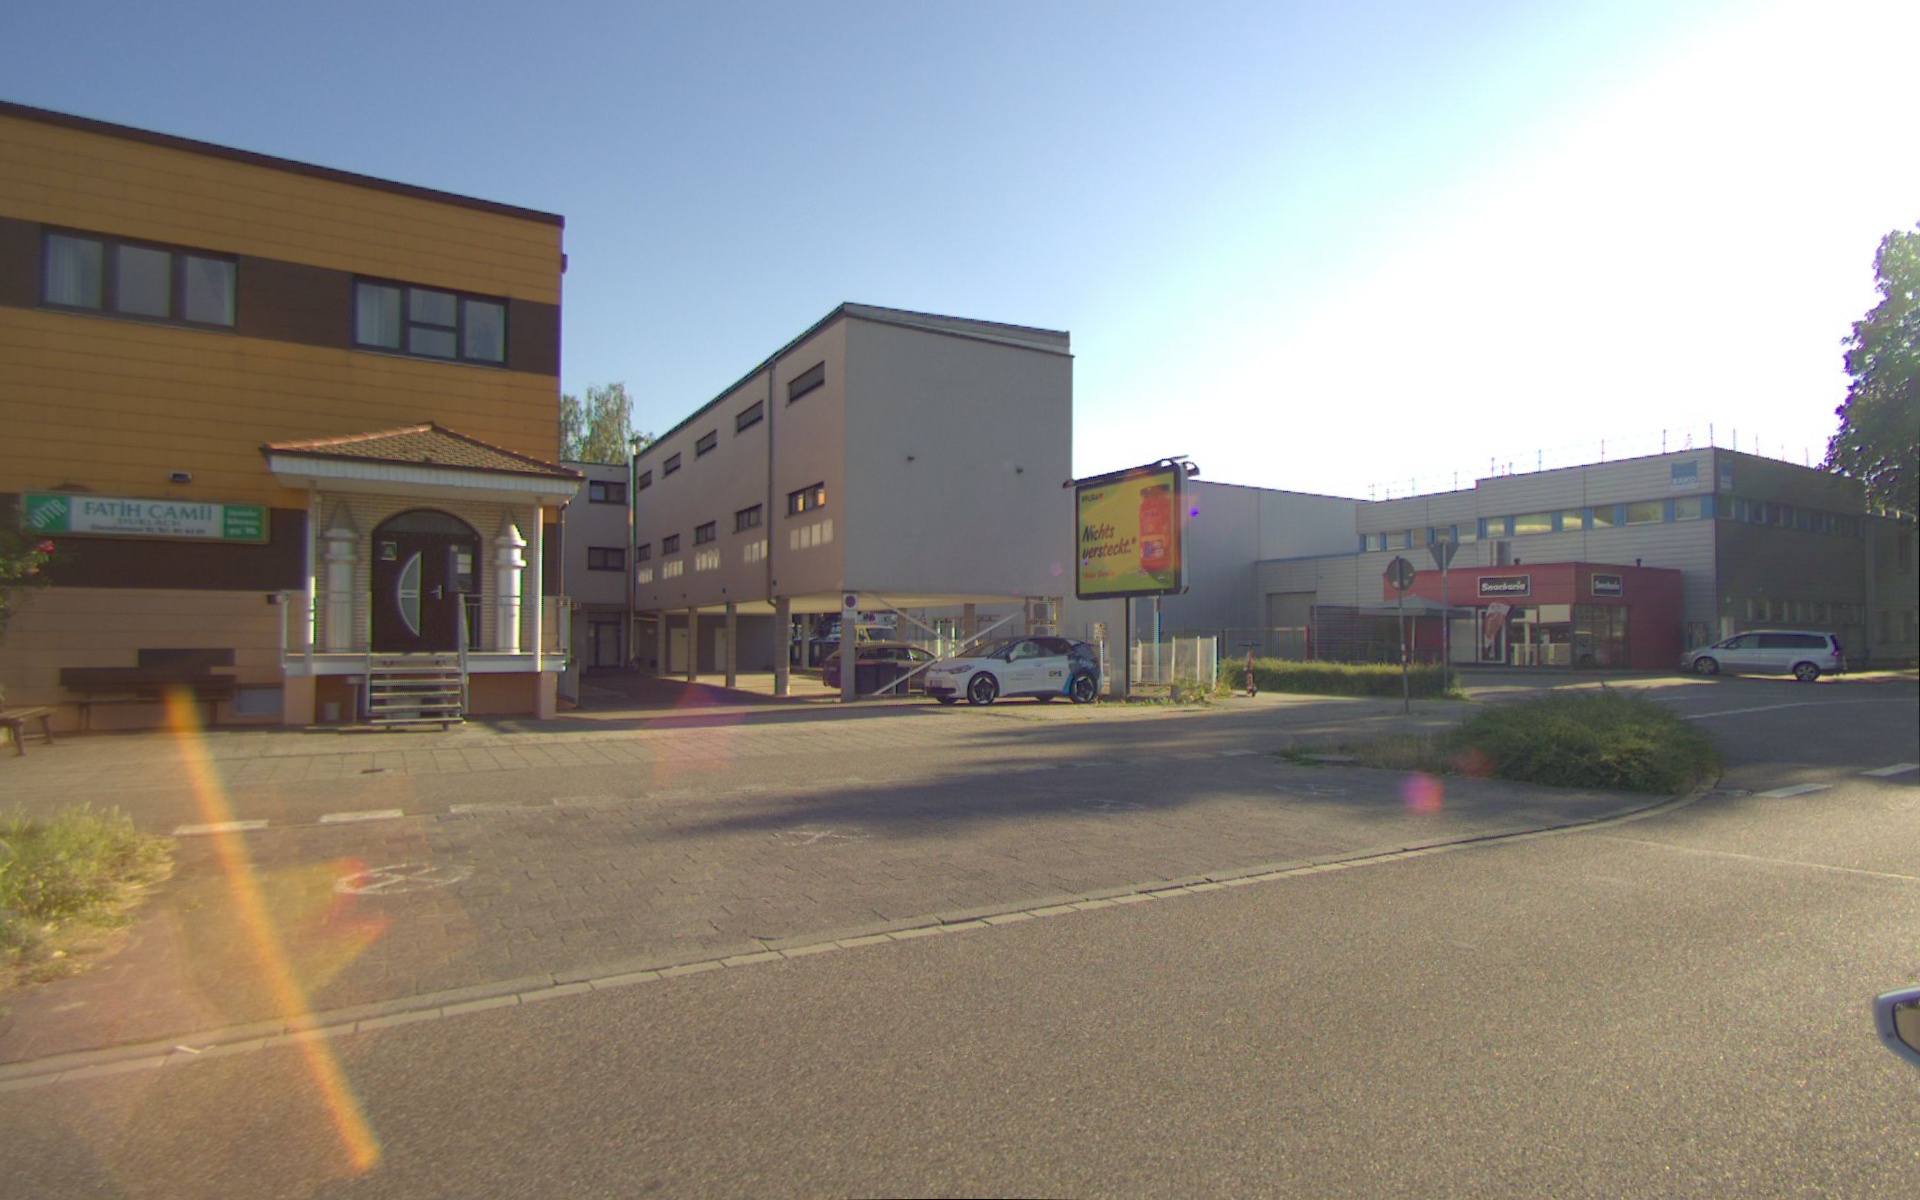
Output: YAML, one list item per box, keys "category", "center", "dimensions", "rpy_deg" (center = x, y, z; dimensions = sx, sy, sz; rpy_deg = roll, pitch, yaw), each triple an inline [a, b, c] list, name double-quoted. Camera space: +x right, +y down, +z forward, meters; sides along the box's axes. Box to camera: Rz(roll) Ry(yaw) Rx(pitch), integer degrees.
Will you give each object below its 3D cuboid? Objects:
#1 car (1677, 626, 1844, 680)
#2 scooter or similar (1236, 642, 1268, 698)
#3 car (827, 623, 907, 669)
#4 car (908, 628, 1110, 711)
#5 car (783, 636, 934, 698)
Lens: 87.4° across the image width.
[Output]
- category: "car"
  center: [29.047, 1.873, 36.522]
  dimensions: [4.581, 1.764, 1.988]
  rpy_deg: [0, -1, 44]
- category: "scooter or similar"
  center: [6.683, 1.580, 23.011]
  dimensions: [0.613, 1.216, 1.390]
  rpy_deg: [1, -1, 13]
- category: "car"
  center: [-5.129, 2.465, 54.545]
  dimensions: [2.220, 2.291, 5.027]
  rpy_deg: [2, -1, -33]
- category: "car"
  center: [1.155, 1.531, 23.184]
  dimensions: [4.289, 1.598, 1.984]
  rpy_deg: [-1, 0, -31]
- category: "car"
  center: [-2.986, 1.942, 29.646]
  dimensions: [3.953, 1.639, 1.984]
  rpy_deg: [2, -1, -30]
